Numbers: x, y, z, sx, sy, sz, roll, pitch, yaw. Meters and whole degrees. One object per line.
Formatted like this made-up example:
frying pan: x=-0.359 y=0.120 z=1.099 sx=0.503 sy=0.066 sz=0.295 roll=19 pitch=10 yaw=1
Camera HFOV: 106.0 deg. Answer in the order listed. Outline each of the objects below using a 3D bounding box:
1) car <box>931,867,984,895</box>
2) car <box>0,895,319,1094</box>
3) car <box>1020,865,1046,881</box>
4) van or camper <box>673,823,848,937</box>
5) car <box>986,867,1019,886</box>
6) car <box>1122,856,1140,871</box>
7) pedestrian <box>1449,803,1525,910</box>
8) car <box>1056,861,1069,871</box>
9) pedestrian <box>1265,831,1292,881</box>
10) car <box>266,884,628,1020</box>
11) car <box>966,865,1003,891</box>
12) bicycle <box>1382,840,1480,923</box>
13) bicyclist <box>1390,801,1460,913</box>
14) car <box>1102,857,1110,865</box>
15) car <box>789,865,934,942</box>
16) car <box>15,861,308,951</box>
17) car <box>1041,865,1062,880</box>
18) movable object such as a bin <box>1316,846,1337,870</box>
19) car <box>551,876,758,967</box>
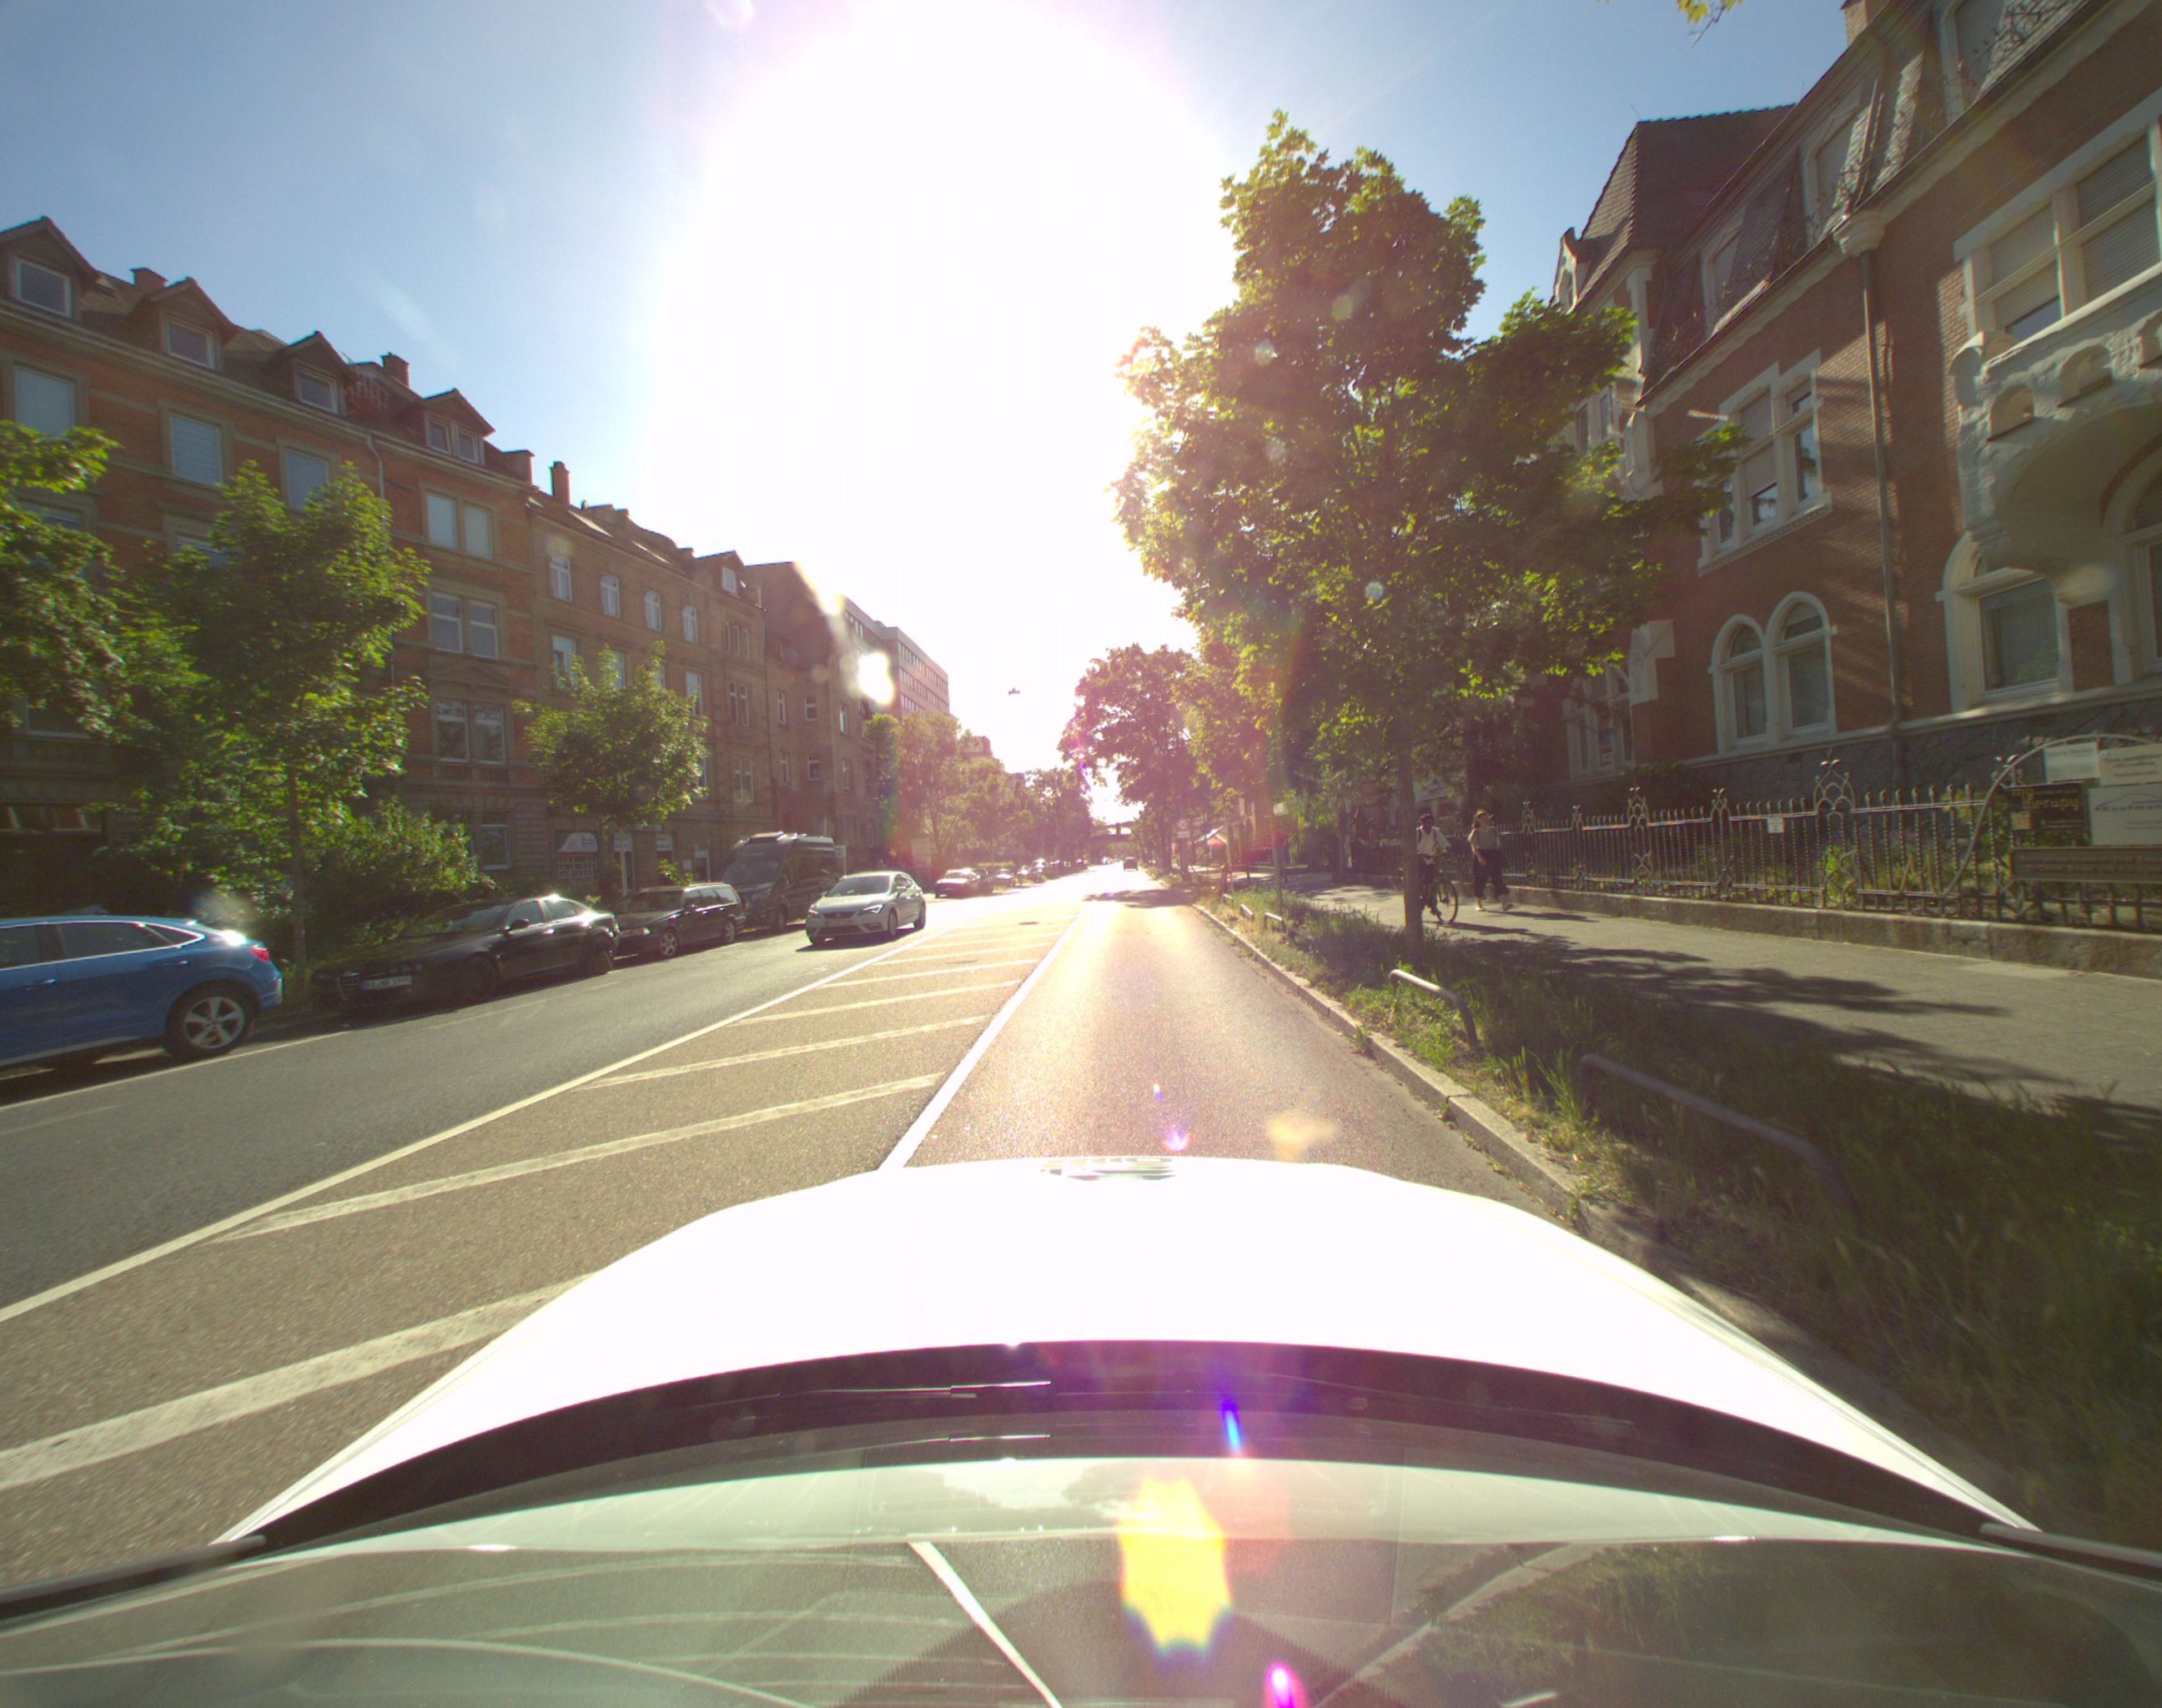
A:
car: x=-6.736 y=1.440 z=44.785 sx=1.847 sy=1.427 sz=4.725 roll=1 pitch=0 yaw=4
car: x=-9.966 y=1.313 z=7.216 sx=1.771 sy=1.538 sz=4.566 roll=-4 pitch=0 yaw=6
car: x=-4.328 y=1.710 z=73.750 sx=1.680 sy=1.383 sz=4.198 roll=-2 pitch=-1 yaw=6
van or camper: x=-8.922 y=0.673 z=23.478 sx=2.207 sy=2.739 sz=6.093 roll=-3 pitch=0 yaw=3
car: x=-5.588 y=1.595 z=58.187 sx=1.671 sy=1.255 sz=4.019 roll=-2 pitch=-1 yaw=4
car: x=5.940 y=1.132 z=97.072 sx=1.977 sy=1.600 sz=4.142 roll=-2 pitch=0 yaw=2
pedestrian: x=6.738 y=0.046 z=13.560 sx=0.692 sy=1.658 sz=0.821 roll=-6 pitch=-2 yaw=2
car: x=-3.158 y=2.109 z=141.903 sx=1.847 sy=1.568 sz=3.875 roll=-2 pitch=-1 yaw=4
pedestrian: x=7.402 y=0.069 z=30.487 sx=0.742 sy=1.787 sz=0.814 roll=-6 pitch=-1 yaw=16
car: x=-9.129 y=1.308 z=12.342 sx=1.773 sy=1.413 sz=4.409 roll=-5 pitch=-1 yaw=3
car: x=-5.916 y=1.450 z=50.475 sx=1.851 sy=1.494 sz=4.703 roll=0 pitch=-1 yaw=-1
bicycle: x=5.582 y=0.423 z=13.120 sx=0.614 sy=1.176 sz=1.918 roll=-6 pitch=0 yaw=-1
bicyclist: x=5.543 y=0.048 z=13.166 sx=0.618 sy=1.690 sz=0.820 roll=-6 pitch=-1 yaw=-1
car: x=6.387 y=1.686 z=206.679 sx=1.849 sy=1.825 sz=4.612 roll=-5 pitch=-1 yaw=2
car: x=-4.809 y=1.034 z=18.529 sx=1.911 sy=1.419 sz=4.228 roll=-3 pitch=0 yaw=2
car: x=-22.503 y=1.193 z=20.179 sx=1.841 sy=1.914 sz=4.478 roll=-5 pitch=-3 yaw=27
car: x=-3.040 y=1.925 z=85.000 sx=1.704 sy=1.459 sz=4.077 roll=-2 pitch=-1 yaw=5
movable object such as a bin: x=10.323 y=0.176 z=34.266 sx=0.622 sy=0.965 sz=0.668 roll=-5 pitch=-1 yaw=2
car: x=-8.899 y=1.323 z=17.542 sx=1.686 sy=1.456 sz=4.667 roll=-5 pitch=-1 yaw=3
